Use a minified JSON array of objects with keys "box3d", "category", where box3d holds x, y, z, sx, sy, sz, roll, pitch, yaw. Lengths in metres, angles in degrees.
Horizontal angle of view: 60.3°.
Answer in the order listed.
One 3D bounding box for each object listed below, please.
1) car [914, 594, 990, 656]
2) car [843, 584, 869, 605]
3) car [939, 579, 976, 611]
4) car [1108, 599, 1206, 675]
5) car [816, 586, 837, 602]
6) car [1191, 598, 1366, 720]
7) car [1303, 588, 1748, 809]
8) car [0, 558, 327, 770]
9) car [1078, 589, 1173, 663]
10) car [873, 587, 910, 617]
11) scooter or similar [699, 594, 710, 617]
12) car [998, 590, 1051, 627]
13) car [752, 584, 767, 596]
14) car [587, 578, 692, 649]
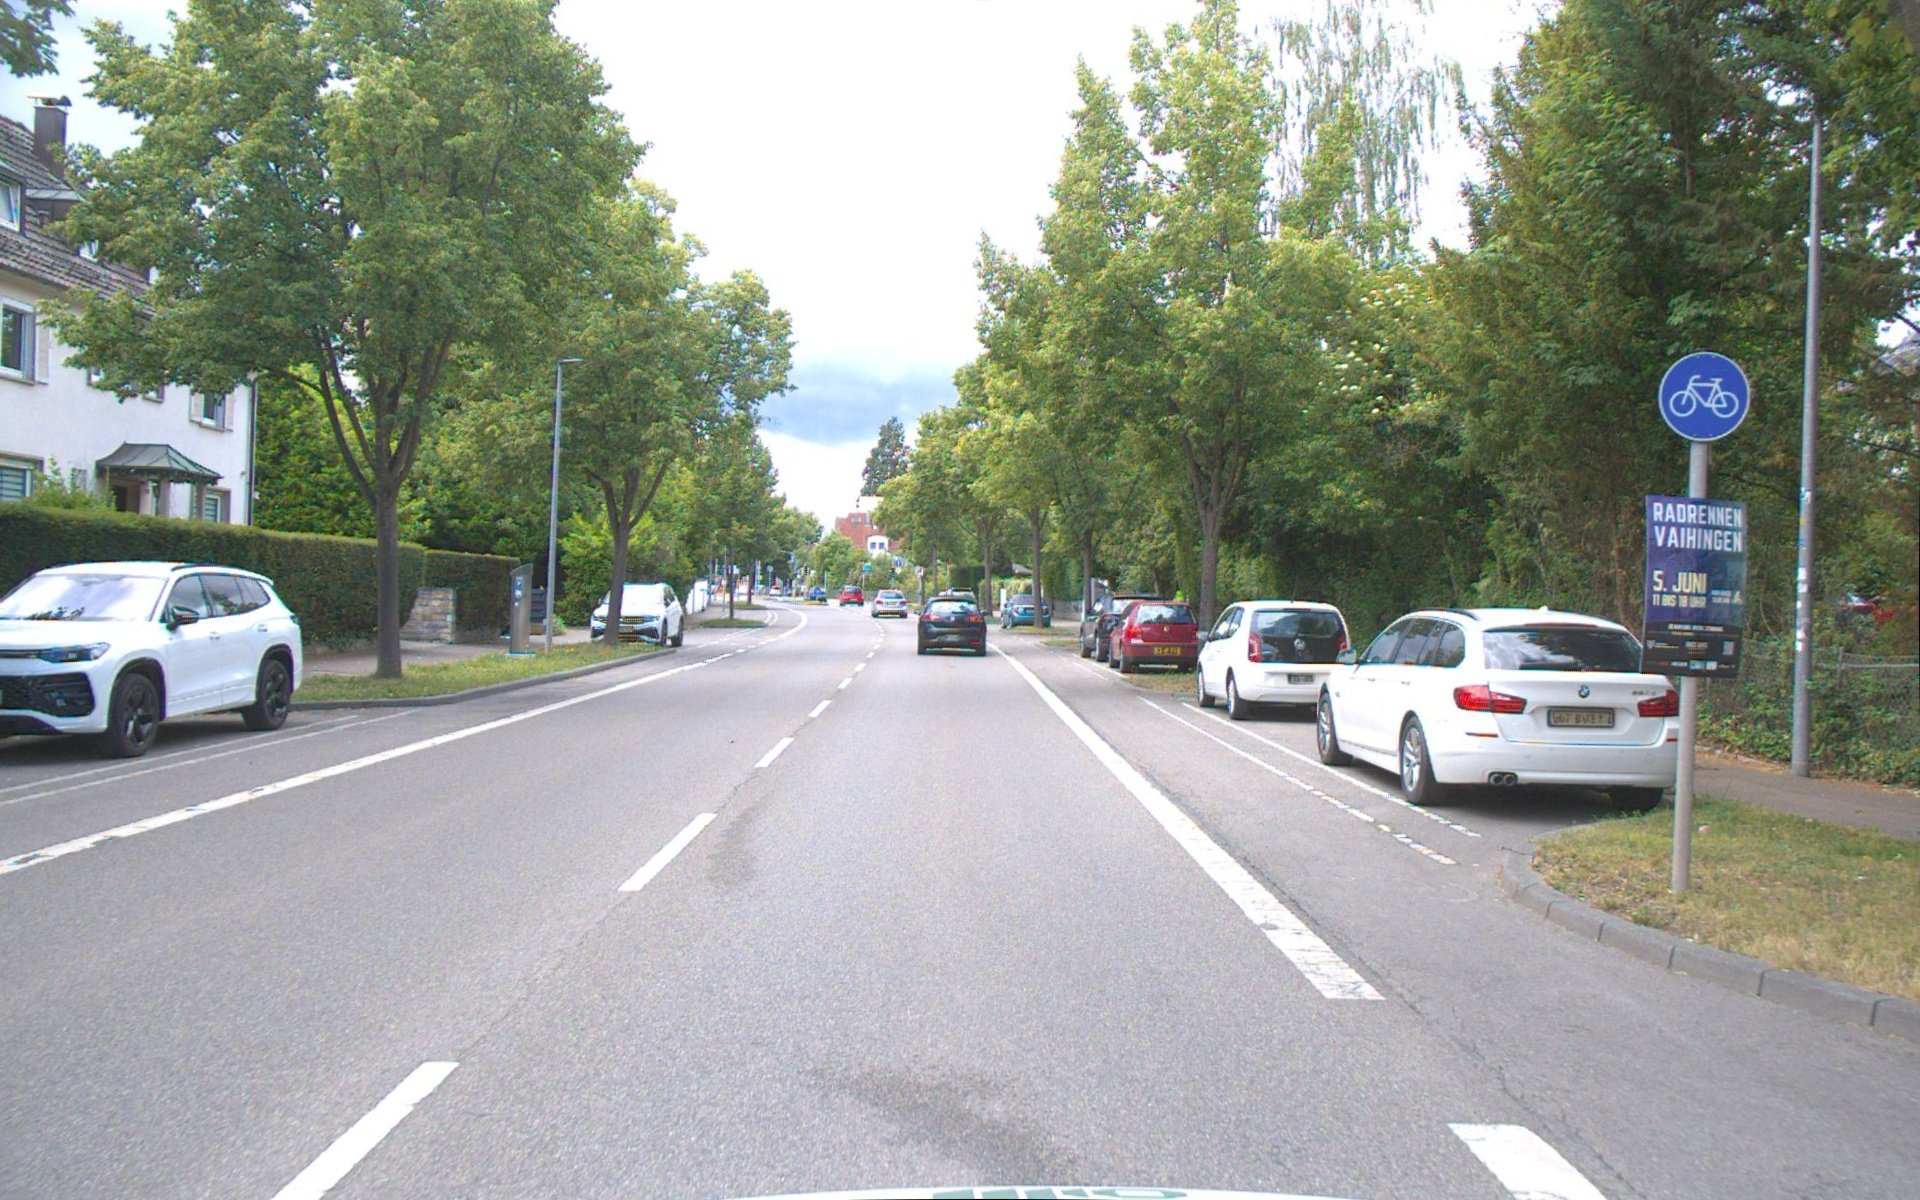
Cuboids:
[{"box3d":[-0.241,0.604,41.538,1.747,1.474,3.556,1,0,-3],"category":"car"},{"box3d":[-7.877,-0.421,125.448,1.954,1.557,3.997,1,0,-3],"category":"car"},{"box3d":[-0.169,-0.297,96.551,1.754,1.803,3.977,1,0,-6],"category":"car"},{"box3d":[4.014,0.712,34.187,1.604,1.445,4.000,1,0,1],"category":"car"},{"box3d":[-12.952,-0.578,160.371,1.955,1.534,3.995,2,-1,-6],"category":"car"},{"box3d":[4.192,0.724,22.265,1.583,1.485,3.656,1,0,-1],"category":"car"},{"box3d":[4.413,0.666,13.891,1.979,1.468,5.024,1,0,0],"category":"car"},{"box3d":[-7.839,0.492,15.647,1.779,1.681,4.699,1,0,1],"category":"car"},{"box3d":[3.912,0.587,39.664,1.605,1.644,4.167,1,0,-3],"category":"car"},{"box3d":[-3.768,0.116,90.109,1.954,1.585,3.997,1,-1,-3],"category":"car"},{"box3d":[-13.116,0.276,84.904,0.492,1.174,1.299,1,0,-6],"category":"scooter or similar"},{"box3d":[2.660,0.327,69.173,1.650,1.457,4.039,1,0,-6],"category":"car"},{"box3d":[-29.223,-1.513,240.877,1.934,1.705,3.874,1,0,-4],"category":"car"},{"box3d":[-8.256,0.329,43.041,1.835,1.718,4.865,1,0,-1],"category":"car"}]
